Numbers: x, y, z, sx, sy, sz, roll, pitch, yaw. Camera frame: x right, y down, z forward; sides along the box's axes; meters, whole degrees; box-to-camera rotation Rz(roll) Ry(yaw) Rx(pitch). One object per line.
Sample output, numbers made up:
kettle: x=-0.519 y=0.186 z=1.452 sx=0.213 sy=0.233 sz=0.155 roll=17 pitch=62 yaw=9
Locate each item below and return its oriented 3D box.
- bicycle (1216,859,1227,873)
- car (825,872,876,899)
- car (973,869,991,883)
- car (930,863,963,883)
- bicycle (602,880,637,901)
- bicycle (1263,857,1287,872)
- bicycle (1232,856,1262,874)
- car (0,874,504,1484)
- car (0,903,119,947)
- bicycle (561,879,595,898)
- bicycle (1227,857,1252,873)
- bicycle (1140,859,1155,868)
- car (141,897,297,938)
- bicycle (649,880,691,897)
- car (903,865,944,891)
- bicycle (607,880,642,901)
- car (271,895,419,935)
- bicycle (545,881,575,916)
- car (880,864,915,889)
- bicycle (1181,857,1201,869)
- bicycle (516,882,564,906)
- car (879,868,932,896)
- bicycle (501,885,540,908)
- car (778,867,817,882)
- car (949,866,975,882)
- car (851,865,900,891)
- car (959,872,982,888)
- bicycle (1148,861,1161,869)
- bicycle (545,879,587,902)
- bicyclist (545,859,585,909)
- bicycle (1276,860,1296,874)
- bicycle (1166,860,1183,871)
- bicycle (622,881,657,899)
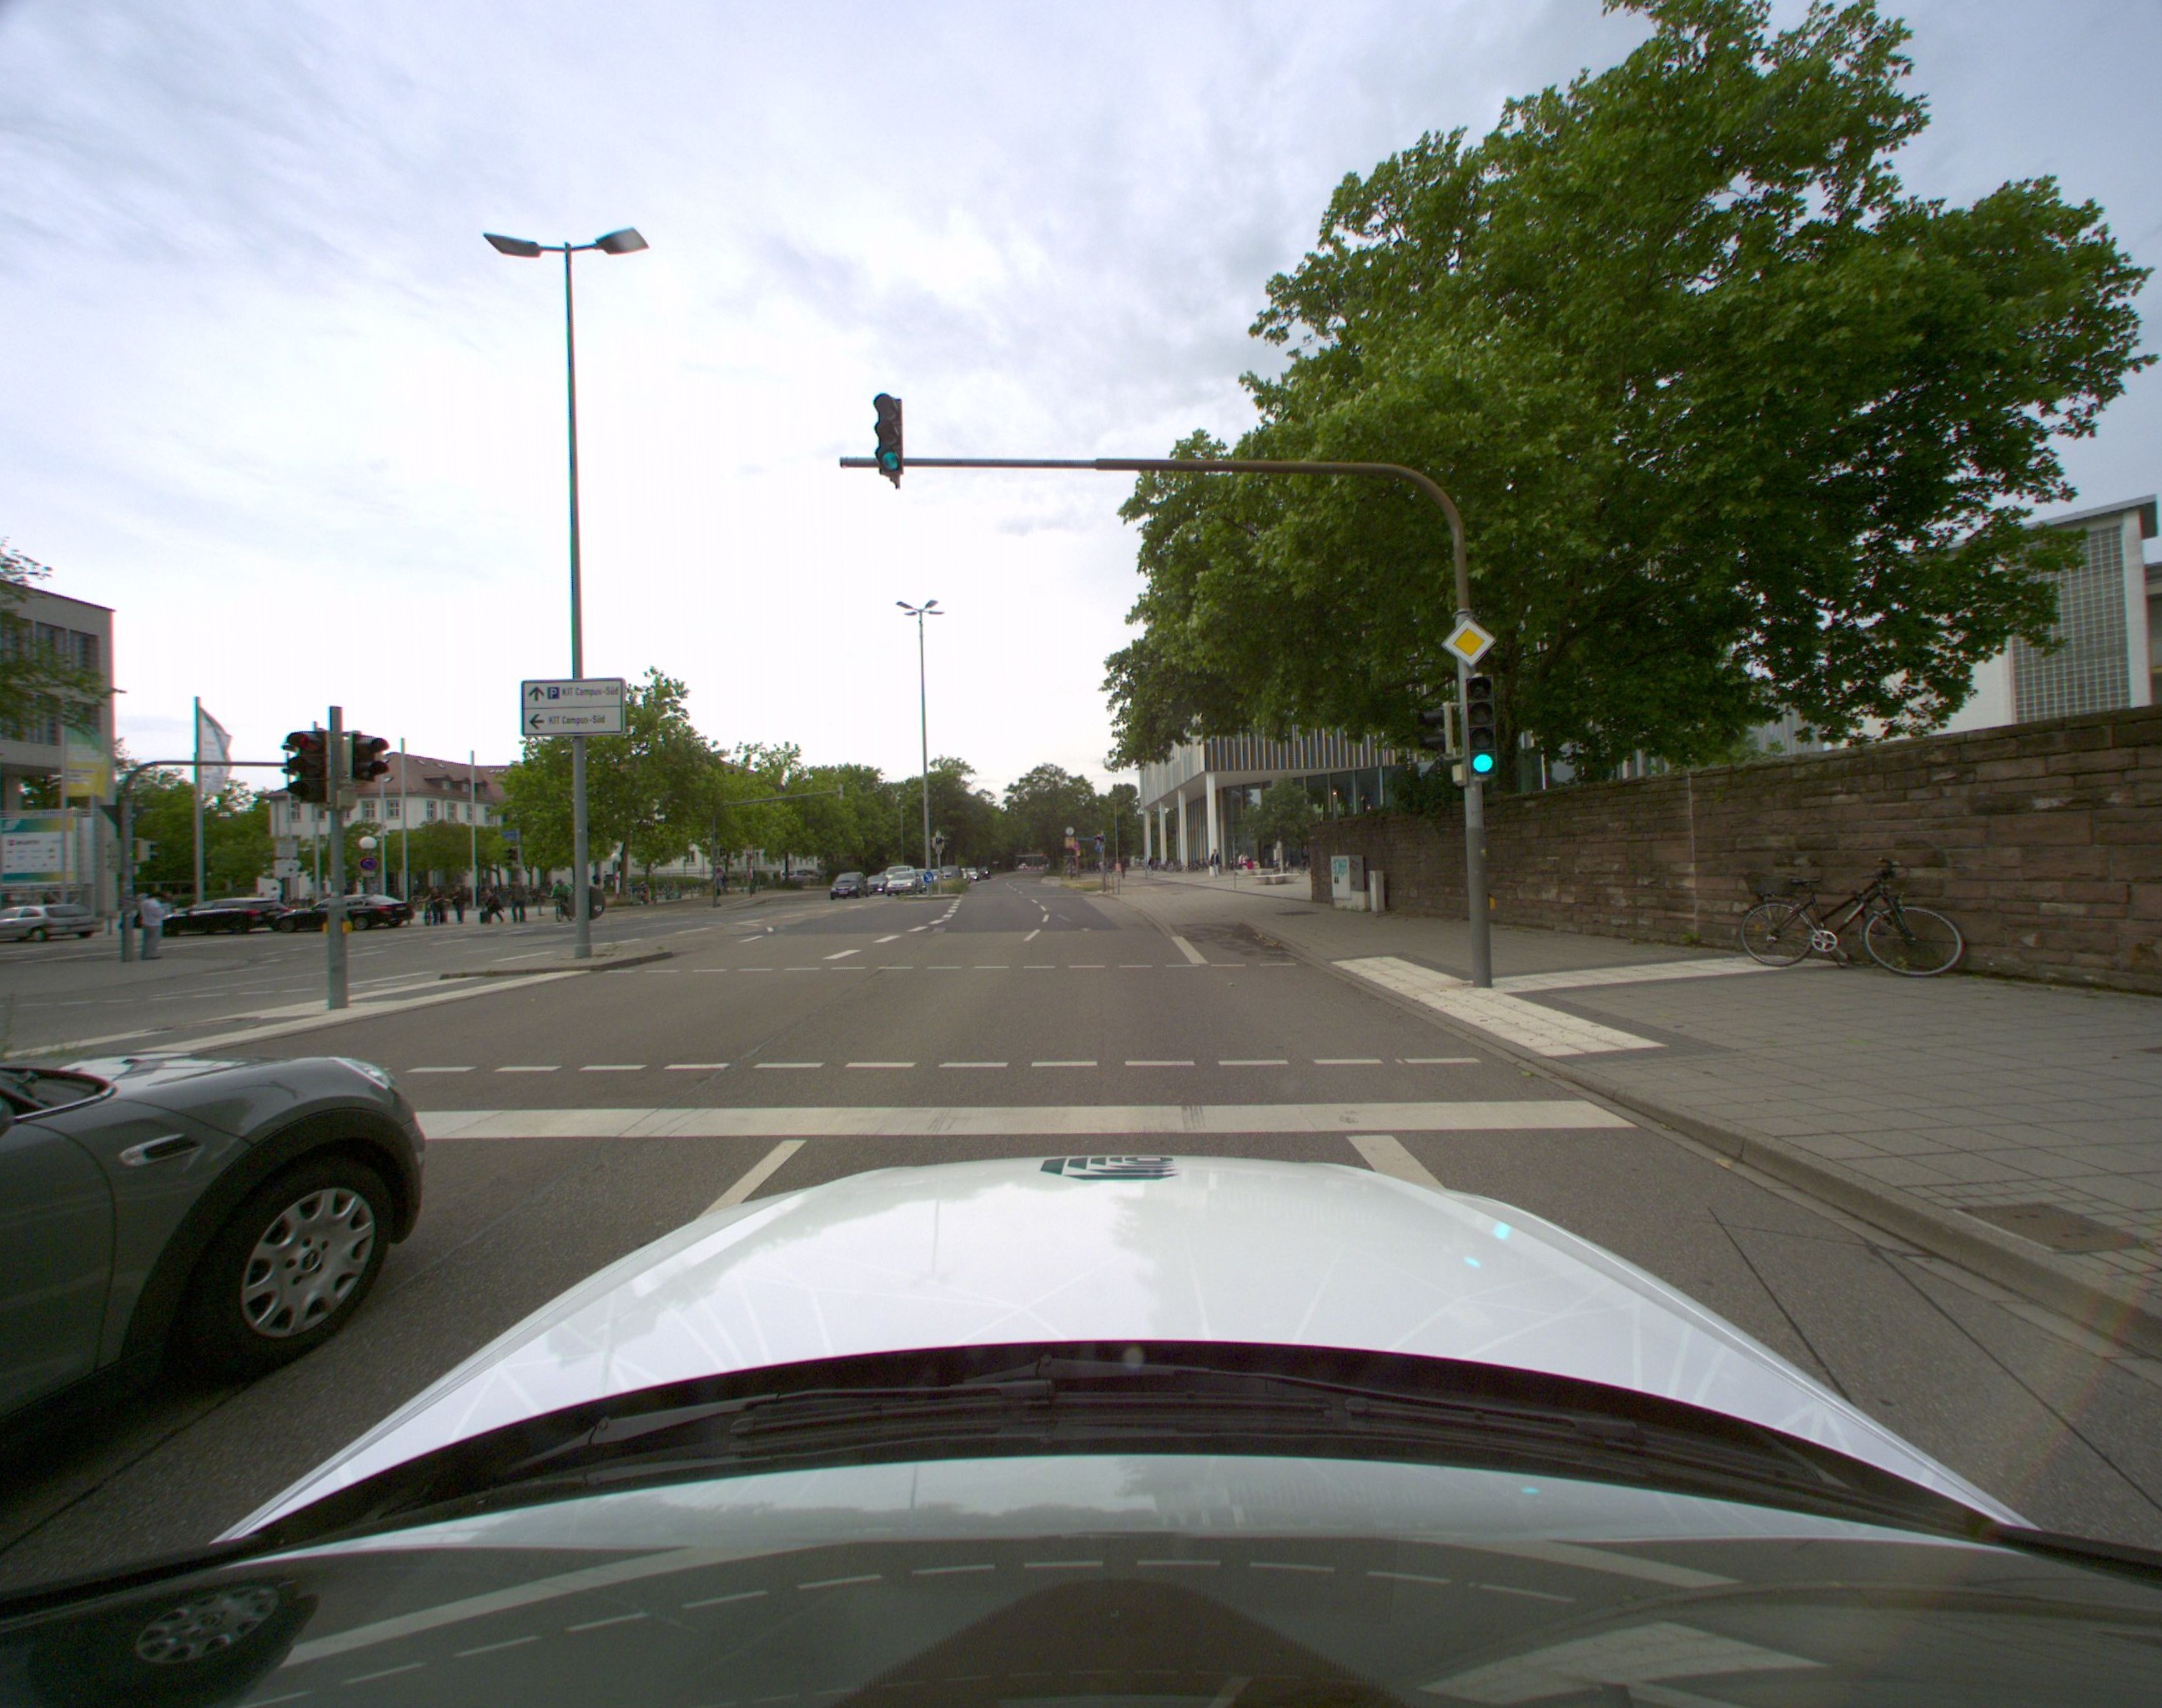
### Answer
bicycle: x=11.128 y=0.955 z=64.463 sx=0.636 sy=1.061 sz=1.841 roll=0 pitch=-1 yaw=2
car: x=-13.914 y=1.881 z=49.332 sx=1.845 sy=1.463 sz=3.698 roll=-2 pitch=-1 yaw=2
car: x=-12.588 y=2.776 z=103.653 sx=1.898 sy=1.593 sz=4.512 roll=-3 pitch=-1 yaw=-2
car: x=-11.783 y=1.652 z=71.751 sx=1.986 sy=1.687 sz=4.948 roll=-1 pitch=0 yaw=1
bicycle: x=-38.000 y=3.037 z=67.047 sx=2.396 sy=1.594 sz=0.720 roll=-2 pitch=-1 yaw=-7
bicycle: x=14.081 y=0.732 z=59.110 sx=1.971 sy=1.002 sz=0.765 roll=-2 pitch=-1 yaw=-44
bicycle: x=12.467 y=0.822 z=60.977 sx=2.736 sy=1.188 sz=0.765 roll=-2 pitch=-1 yaw=-44
car: x=-3.221 y=0.757 z=1.453 sx=1.615 sy=1.318 sz=3.707 roll=-2 pitch=-1 yaw=2
car: x=-42.118 y=2.854 z=32.862 sx=3.979 sy=1.580 sz=1.997 roll=0 pitch=-1 yaw=-4
bicycle: x=-44.198 y=3.004 z=71.524 sx=2.639 sy=1.559 sz=0.926 roll=-3 pitch=-1 yaw=15
bicycle: x=12.155 y=0.846 z=62.364 sx=0.727 sy=1.115 sz=2.196 roll=-3 pitch=-1 yaw=45
bicycle: x=8.687 y=1.273 z=106.577 sx=1.791 sy=1.082 sz=0.625 roll=-4 pitch=-1 yaw=-4
car: x=-35.129 y=2.569 z=33.292 sx=3.982 sy=1.472 sz=1.996 roll=0 pitch=-1 yaw=-6
bicycle: x=-31.658 y=2.648 z=62.715 sx=2.743 sy=1.174 sz=0.720 roll=-2 pitch=-1 yaw=-6
car: x=-11.063 y=1.642 z=57.511 sx=1.951 sy=1.584 sz=4.256 roll=-4 pitch=0 yaw=1
bicycle: x=-38.188 y=3.050 z=68.202 sx=2.396 sy=1.594 sz=0.720 roll=-2 pitch=-1 yaw=-7
car: x=-30.350 y=2.502 z=33.702 sx=4.136 sy=1.472 sz=1.996 roll=0 pitch=-1 yaw=-6
bicycle: x=-21.854 y=1.848 z=34.194 sx=0.607 sy=1.333 sz=2.294 roll=0 pitch=-1 yaw=-21
car: x=-14.479 y=1.757 z=64.582 sx=1.766 sy=1.848 sz=4.487 roll=0 pitch=-1 yaw=0
bicycle: x=11.499 y=0.921 z=85.373 sx=1.962 sy=1.144 sz=0.652 roll=-5 pitch=0 yaw=39
bicycle: x=-38.461 y=2.805 z=57.948 sx=2.661 sy=1.559 sz=0.918 roll=-2 pitch=-1 yaw=-13
car: x=-10.704 y=1.667 z=49.911 sx=1.984 sy=1.529 sz=4.279 roll=-2 pitch=-1 yaw=4
bicycle: x=-42.810 y=3.245 z=62.222 sx=2.639 sy=1.559 sz=0.926 roll=-3 pitch=-1 yaw=15
car: x=-30.305 y=2.194 z=87.010 sx=3.579 sy=1.602 sz=1.649 roll=0 pitch=-1 yaw=-5
car: x=-11.516 y=1.942 z=79.002 sx=1.899 sy=1.465 sz=4.906 roll=0 pitch=-1 yaw=-2
car: x=-14.059 y=1.599 z=55.866 sx=1.984 sy=1.620 sz=4.005 roll=-2 pitch=-1 yaw=4
car: x=-12.079 y=2.855 z=89.191 sx=1.989 sy=1.547 sz=4.176 roll=-4 pitch=-1 yaw=-2
bicycle: x=9.212 y=1.407 z=102.038 sx=1.602 sy=0.875 sz=0.556 roll=-3 pitch=-1 yaw=-2
bicycle: x=-38.397 y=2.704 z=60.738 sx=2.447 sy=1.559 sz=0.918 roll=-2 pitch=-1 yaw=-13
bicyclist: x=-21.627 y=1.240 z=34.158 sx=1.185 sy=2.014 sz=1.272 roll=0 pitch=-1 yaw=-22
bicycle: x=14.732 y=0.915 z=58.550 sx=0.663 sy=0.899 sz=1.857 roll=-3 pitch=-1 yaw=39
bicycle: x=9.777 y=1.210 z=85.207 sx=1.636 sy=1.091 sz=0.573 roll=-5 pitch=-1 yaw=6
bicycle: x=-31.174 y=2.559 z=57.546 sx=2.036 sy=1.153 sz=0.717 roll=-2 pitch=-1 yaw=-20
